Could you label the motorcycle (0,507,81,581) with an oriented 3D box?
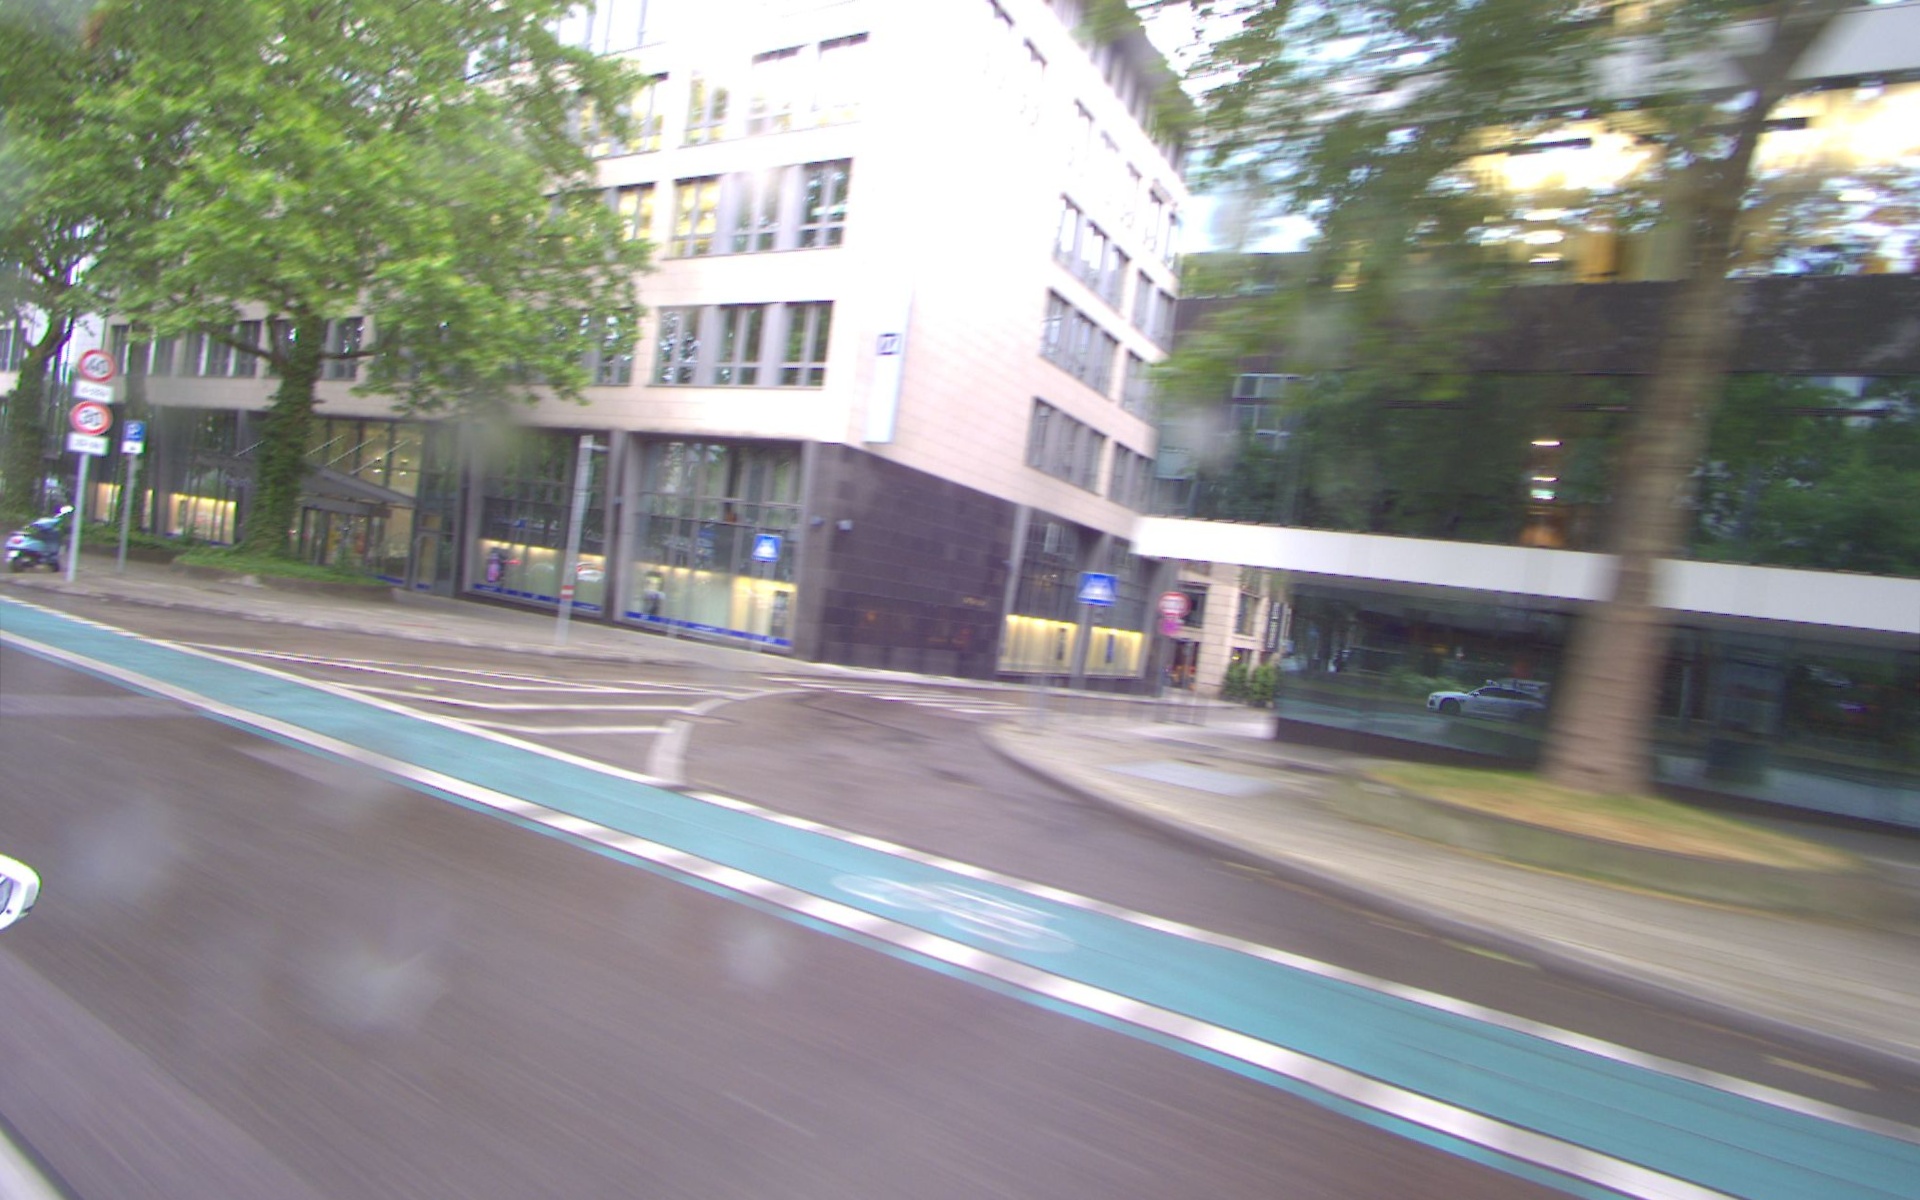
[{"bbox_3d":[-18.743,-1.128,20.367,0.674,1.385,1.937,4,2,-18],"label":"motorcycle"}]
